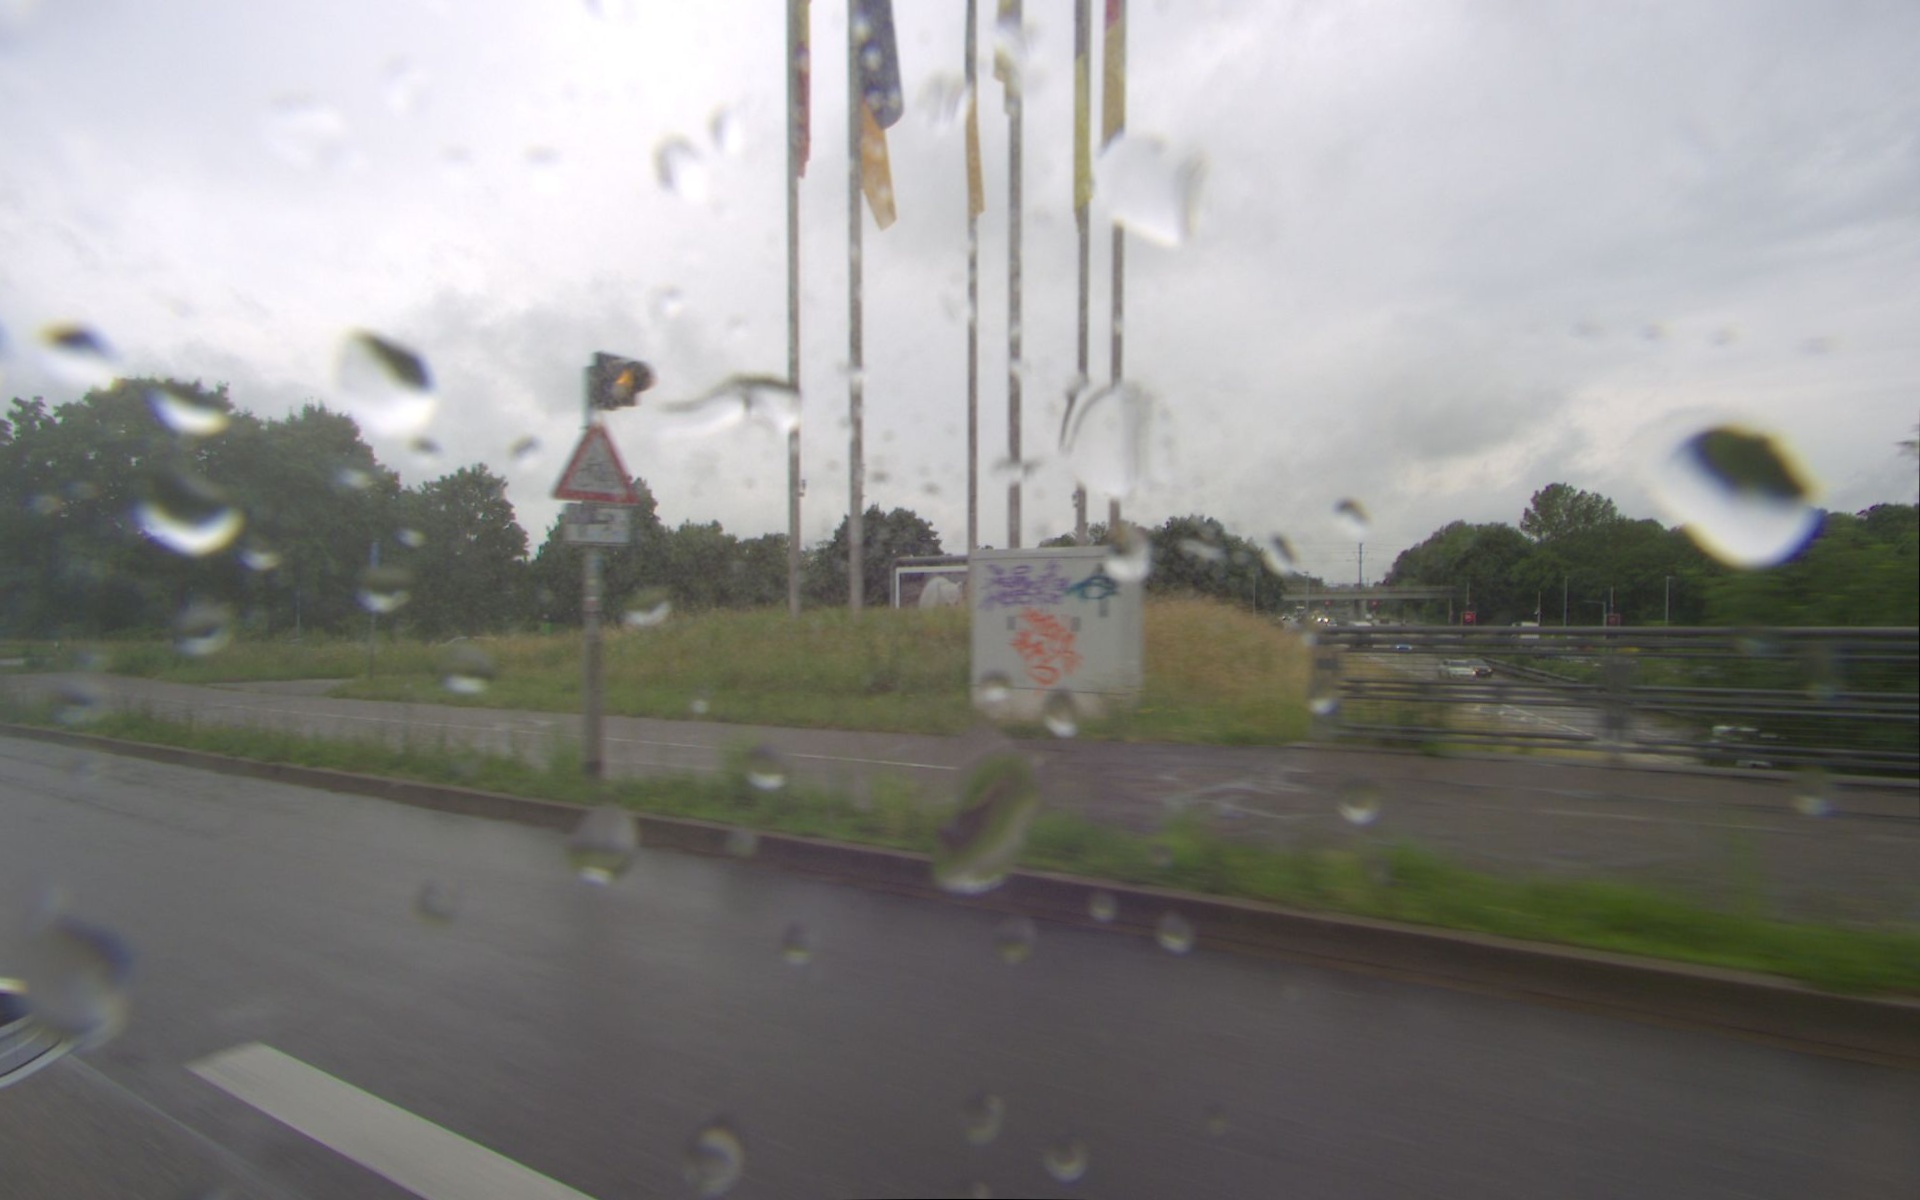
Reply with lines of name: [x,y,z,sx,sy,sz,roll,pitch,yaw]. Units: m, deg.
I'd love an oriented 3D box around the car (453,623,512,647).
car: [-41.586,3.020,87.230,4.538,2.000,2.058,1,-1,-26]

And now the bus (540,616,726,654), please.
bus: [-26.830,2.792,82.611,14.362,2.715,2.752,-1,0,-26]

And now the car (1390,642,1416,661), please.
car: [51.185,5.903,115.768,1.963,1.962,4.739,-1,0,15]

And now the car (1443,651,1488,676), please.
car: [40.852,5.094,80.979,1.962,1.720,4.742,-1,0,10]

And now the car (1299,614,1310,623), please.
car: [72.630,3.842,211.086,1.893,1.740,3.995,1,0,17]

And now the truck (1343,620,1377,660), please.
truck: [49.212,4.855,123.368,2.584,4.595,10.503,-1,0,15]

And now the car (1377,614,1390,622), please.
car: [87.673,3.728,207.216,1.963,1.613,3.996,1,-1,15]
